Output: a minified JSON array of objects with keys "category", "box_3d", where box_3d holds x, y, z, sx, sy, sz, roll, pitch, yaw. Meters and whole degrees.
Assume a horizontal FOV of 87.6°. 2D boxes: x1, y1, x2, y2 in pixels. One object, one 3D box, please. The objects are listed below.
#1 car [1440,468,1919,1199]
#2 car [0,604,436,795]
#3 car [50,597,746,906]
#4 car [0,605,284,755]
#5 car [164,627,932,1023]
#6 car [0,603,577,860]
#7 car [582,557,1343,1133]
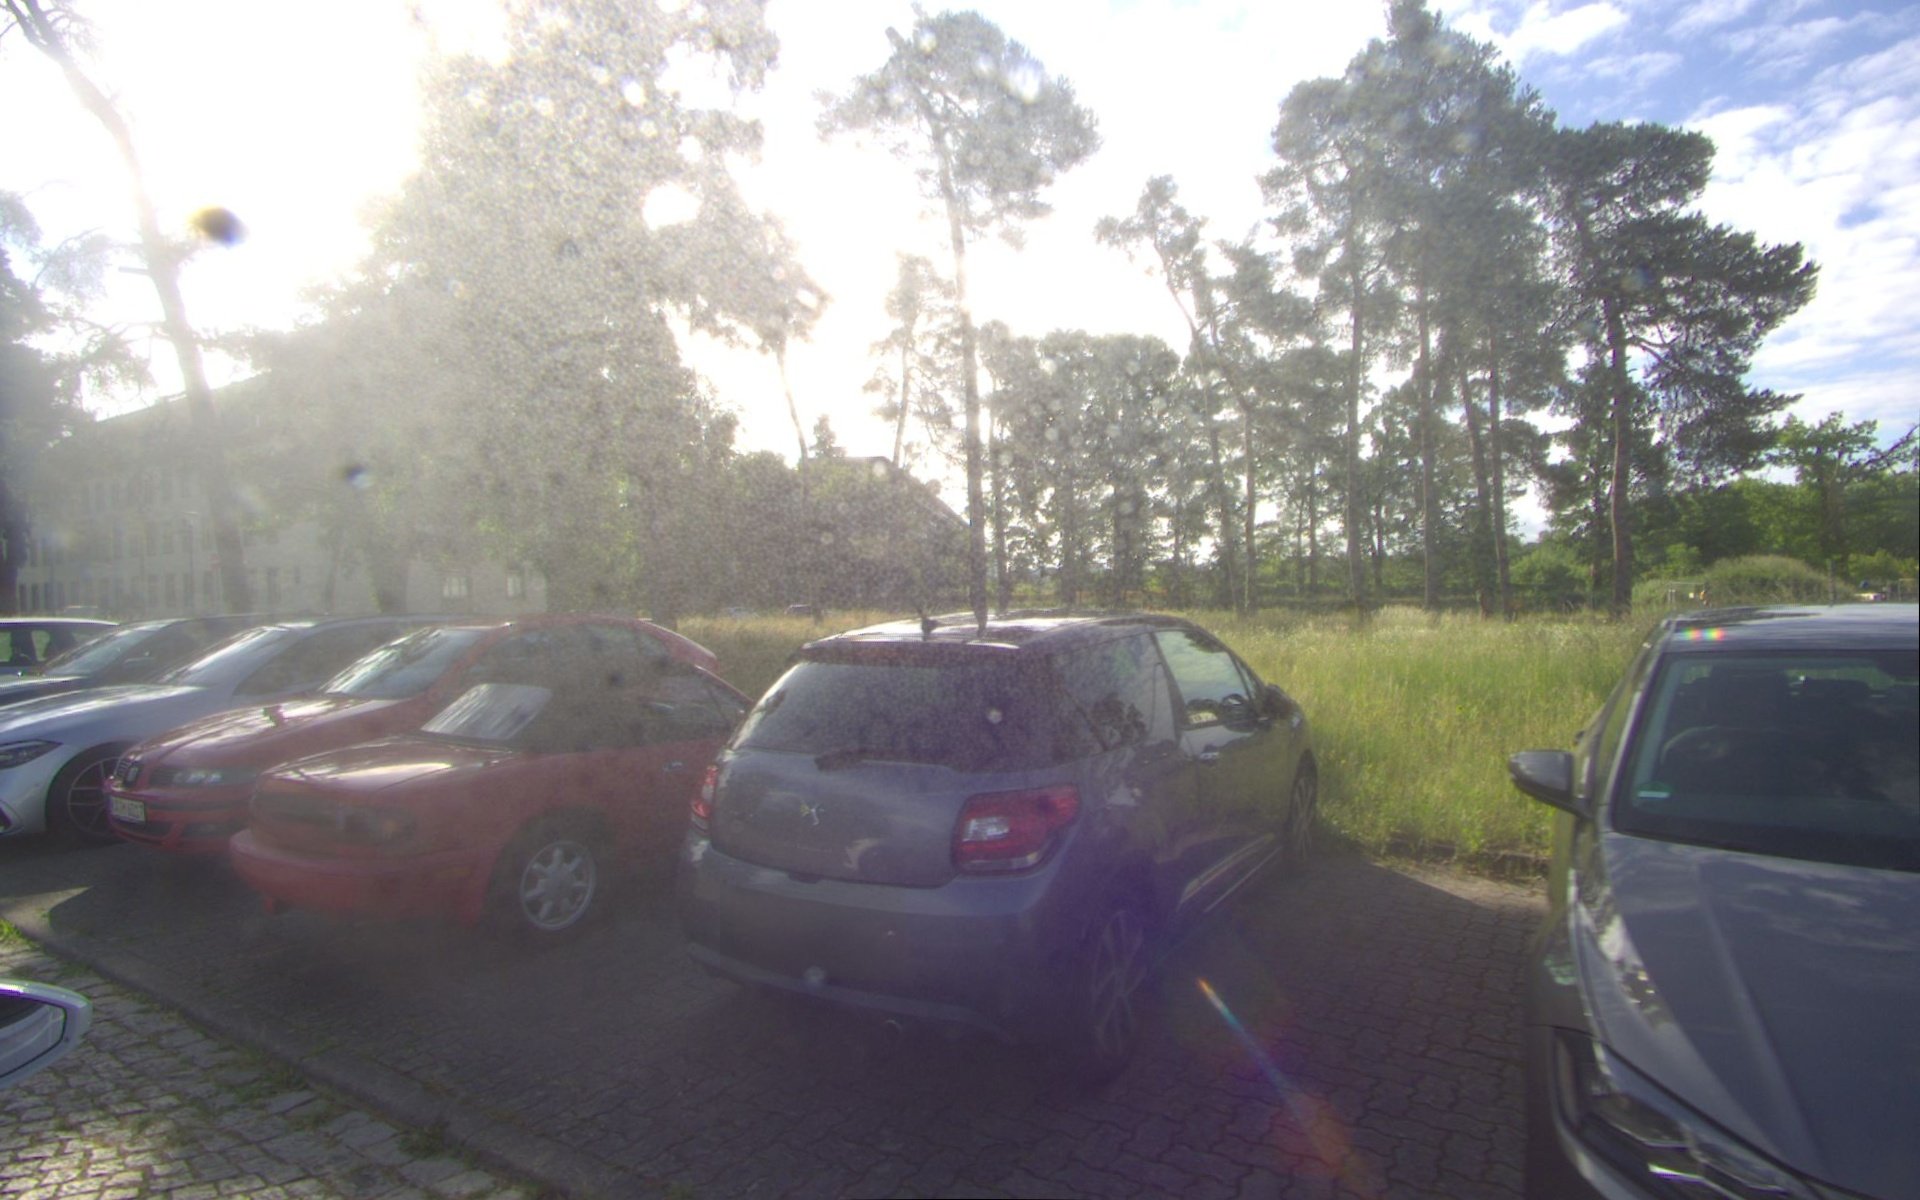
[{"category":"car","box_3d":[2.398,0.537,2.394,1.830,1.469,3.697,0,2,33]},{"category":"car","box_3d":[-7.764,0.830,9.690,1.613,1.434,4.547,0,2,33]},{"category":"car","box_3d":[-3.629,0.776,7.282,1.613,1.469,4.116,0,2,33]},{"category":"car","box_3d":[-10.078,0.841,11.160,1.613,1.434,3.872,0,2,33]},{"category":"car","box_3d":[-1.909,0.875,5.673,1.721,1.240,3.697,0,2,33]},{"category":"car","box_3d":[-5.580,0.811,8.136,1.755,1.434,4.420,0,2,33]},{"category":"car","box_3d":[0.433,0.574,4.580,1.790,1.469,3.698,0,2,32]}]
